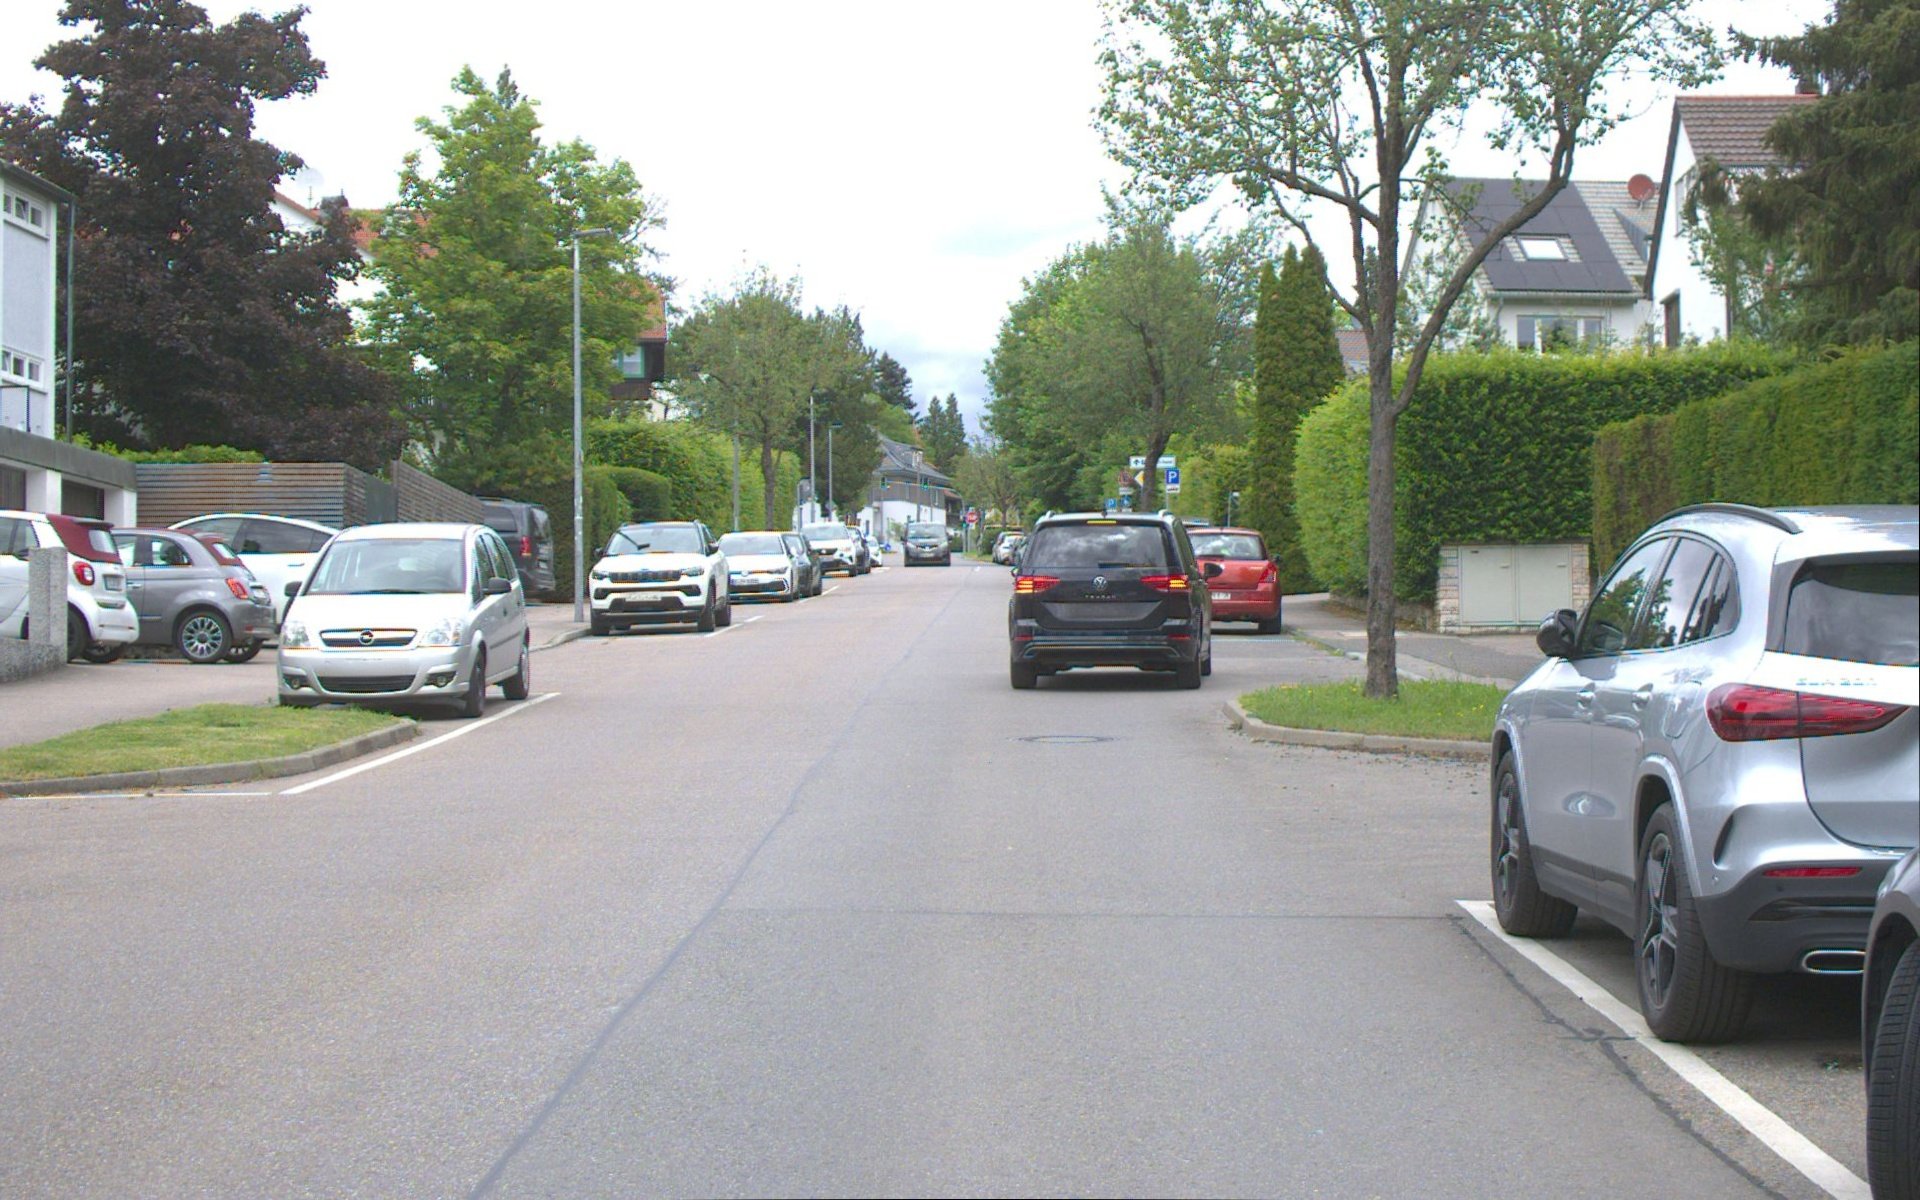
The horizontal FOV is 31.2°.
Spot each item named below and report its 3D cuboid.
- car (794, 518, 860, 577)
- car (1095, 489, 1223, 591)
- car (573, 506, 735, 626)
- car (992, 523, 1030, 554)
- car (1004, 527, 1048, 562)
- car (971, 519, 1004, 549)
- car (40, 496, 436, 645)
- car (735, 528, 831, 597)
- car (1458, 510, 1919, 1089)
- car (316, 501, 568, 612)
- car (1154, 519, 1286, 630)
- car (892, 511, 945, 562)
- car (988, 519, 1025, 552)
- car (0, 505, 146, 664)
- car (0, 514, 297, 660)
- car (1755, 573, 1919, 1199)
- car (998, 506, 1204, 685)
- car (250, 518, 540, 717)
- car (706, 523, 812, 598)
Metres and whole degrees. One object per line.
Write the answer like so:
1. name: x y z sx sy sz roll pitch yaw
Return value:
1. car: -3.628 -1.464 94.326 1.722 1.535 4.001 -1 2 -1
2. car: 3.339 -1.011 58.437 1.993 1.612 4.513 2 1 2
3. car: -4.499 -0.533 51.155 1.837 1.660 4.408 -2 1 2
4. car: 2.492 -3.031 169.269 1.664 1.495 3.468 0 1 -3
5. car: 2.860 -2.427 149.513 1.664 1.495 3.468 0 1 -3
6. car: 1.514 -3.697 191.496 1.643 1.662 3.468 0 1 -3
7. car: -8.845 -0.374 42.376 4.411 1.623 1.911 2 1 0
8. car: -3.816 -0.815 74.708 1.727 1.418 4.079 -2 1 2
9. car: 2.929 0.516 11.474 1.855 1.576 4.172 0 1 -1
10. car: -9.326 -0.768 62.029 4.074 1.943 1.999 0 0 9
11. car: 3.649 -0.390 48.804 1.661 1.503 3.758 0 1 1
12. car: -1.559 -2.408 130.309 1.885 1.844 4.402 -1 1 1
13. car: 2.385 -3.301 176.280 1.664 1.662 3.468 0 1 -3
14. car: -10.374 -0.196 35.569 3.429 1.572 1.657 2 0 2
15. car: -9.365 -0.156 38.608 3.429 1.507 1.692 2 0 2
16. car: 2.808 0.708 5.890 1.855 1.459 4.172 0 1 -1
17. car: 1.335 -0.071 32.999 1.848 1.606 4.311 0 1 2
18. car: -4.760 0.098 29.433 1.760 1.557 3.855 -1 1 1
19. car: -4.053 -0.831 69.988 1.837 1.417 4.408 -2 1 0
